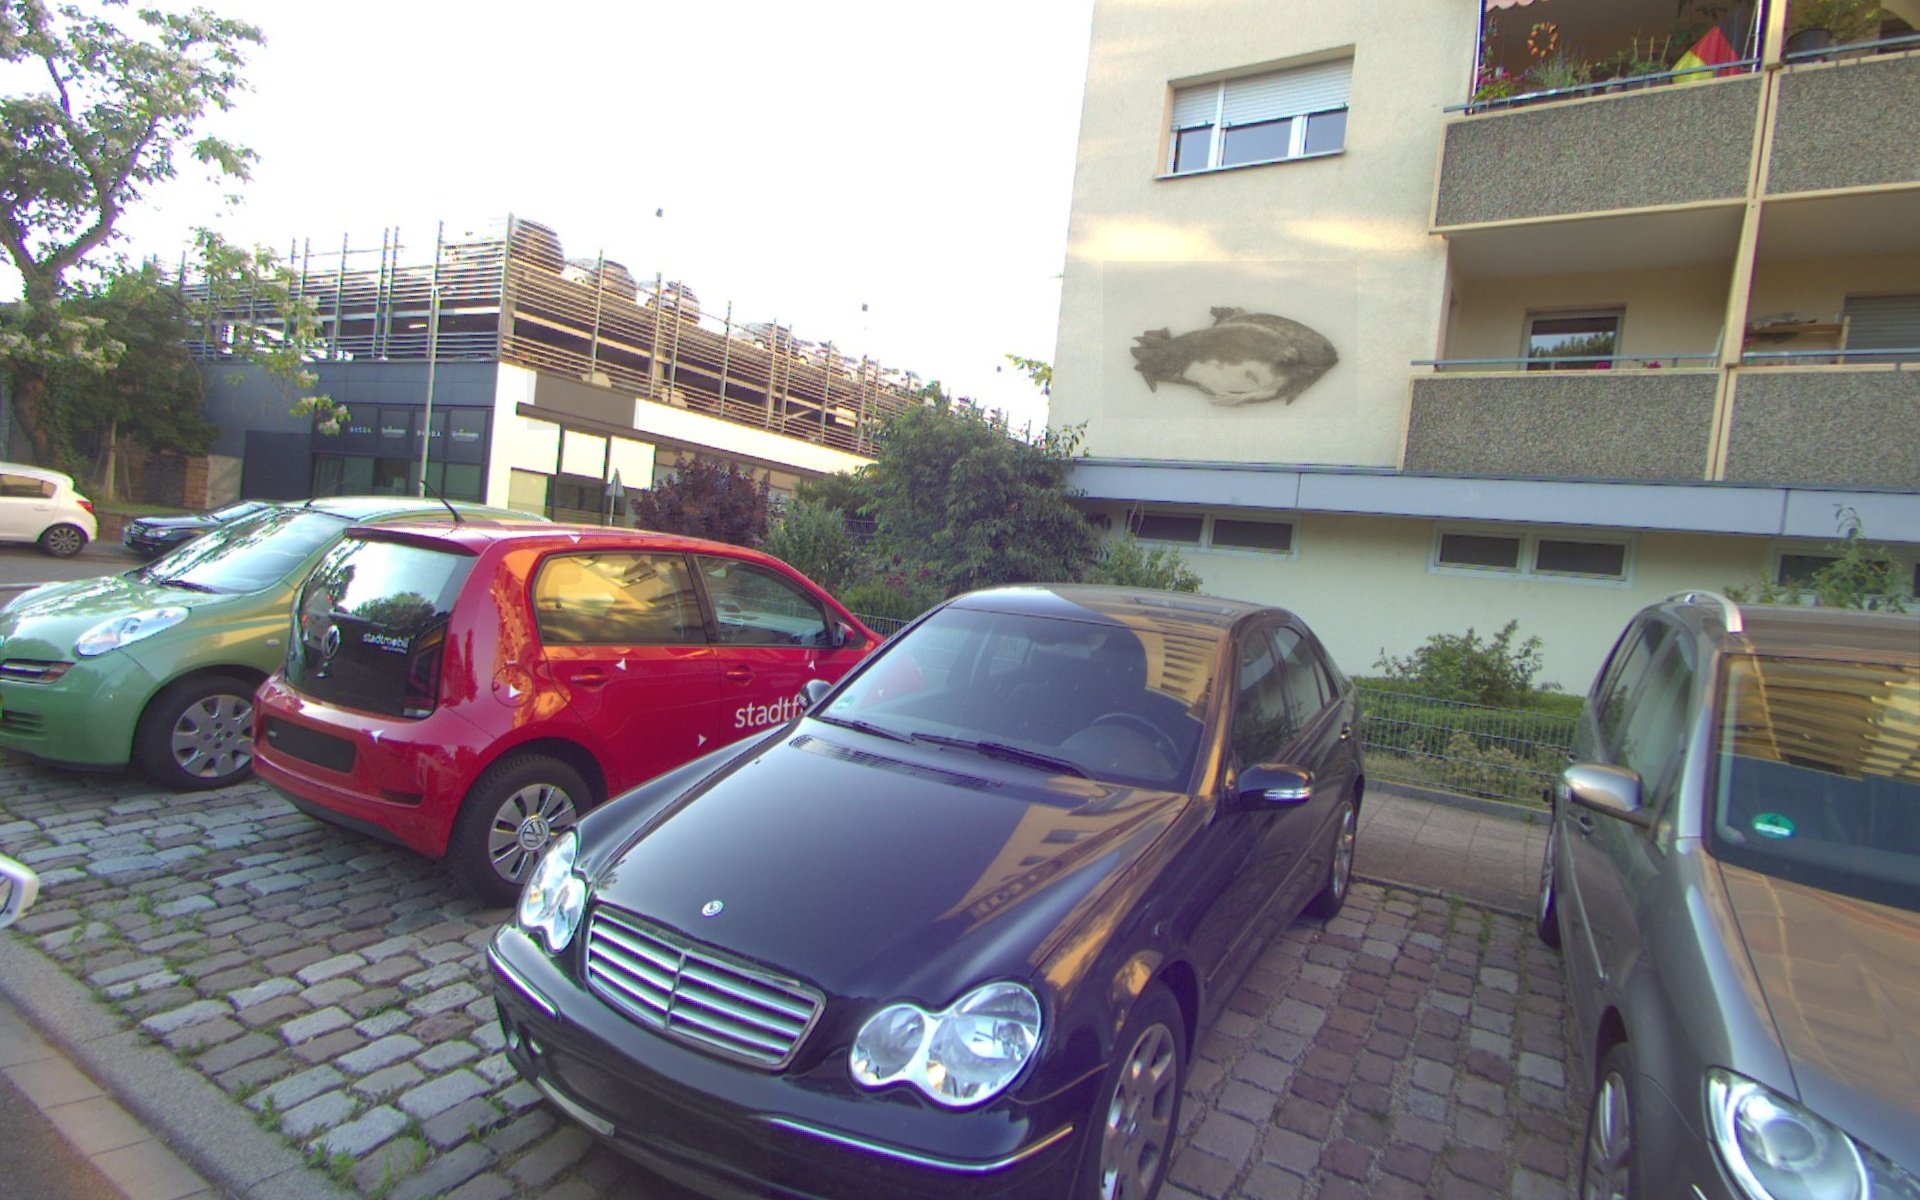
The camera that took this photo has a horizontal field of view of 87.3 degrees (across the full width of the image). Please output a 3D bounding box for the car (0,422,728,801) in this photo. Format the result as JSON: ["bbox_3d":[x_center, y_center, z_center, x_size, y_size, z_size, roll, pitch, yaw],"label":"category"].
[{"bbox_3d":[-3.783,0.038,6.747,1.814,1.653,4.407,5,1,28],"label":"car"}]

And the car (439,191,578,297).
[{"bbox_3d":[-13.688,-10.678,30.452,3.938,2.039,1.993,7,1,36],"label":"car"}]

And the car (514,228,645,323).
[{"bbox_3d":[-12.371,-10.434,32.659,3.938,2.039,1.993,7,1,36],"label":"car"}]

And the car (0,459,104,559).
[{"bbox_3d":[-17.596,-1.767,17.304,1.924,1.594,3.861,8,1,29],"label":"car"}]

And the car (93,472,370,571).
[{"bbox_3d":[-15.007,-1.571,20.960,1.794,1.523,4.290,8,2,35],"label":"car"}]

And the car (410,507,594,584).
[{"bbox_3d":[-11.580,-1.341,25.647,1.794,1.523,3.835,8,2,35],"label":"car"}]

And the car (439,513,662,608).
[{"bbox_3d":[-8.337,-0.761,20.758,1.794,1.544,3.835,8,2,35],"label":"car"}]

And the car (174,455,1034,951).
[{"bbox_3d":[-1.485,0.255,5.740,1.815,1.655,4.398,7,5,32],"label":"car"}]

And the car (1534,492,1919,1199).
[{"bbox_3d":[2.871,0.751,2.946,1.814,1.684,4.405,5,3,28],"label":"car"}]

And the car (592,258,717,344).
[{"bbox_3d":[-10.570,-10.254,34.765,3.938,2.039,1.993,7,1,36],"label":"car"}]

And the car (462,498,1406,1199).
[{"bbox_3d":[0.585,0.626,4.094,1.814,1.551,4.407,5,1,28],"label":"car"}]
